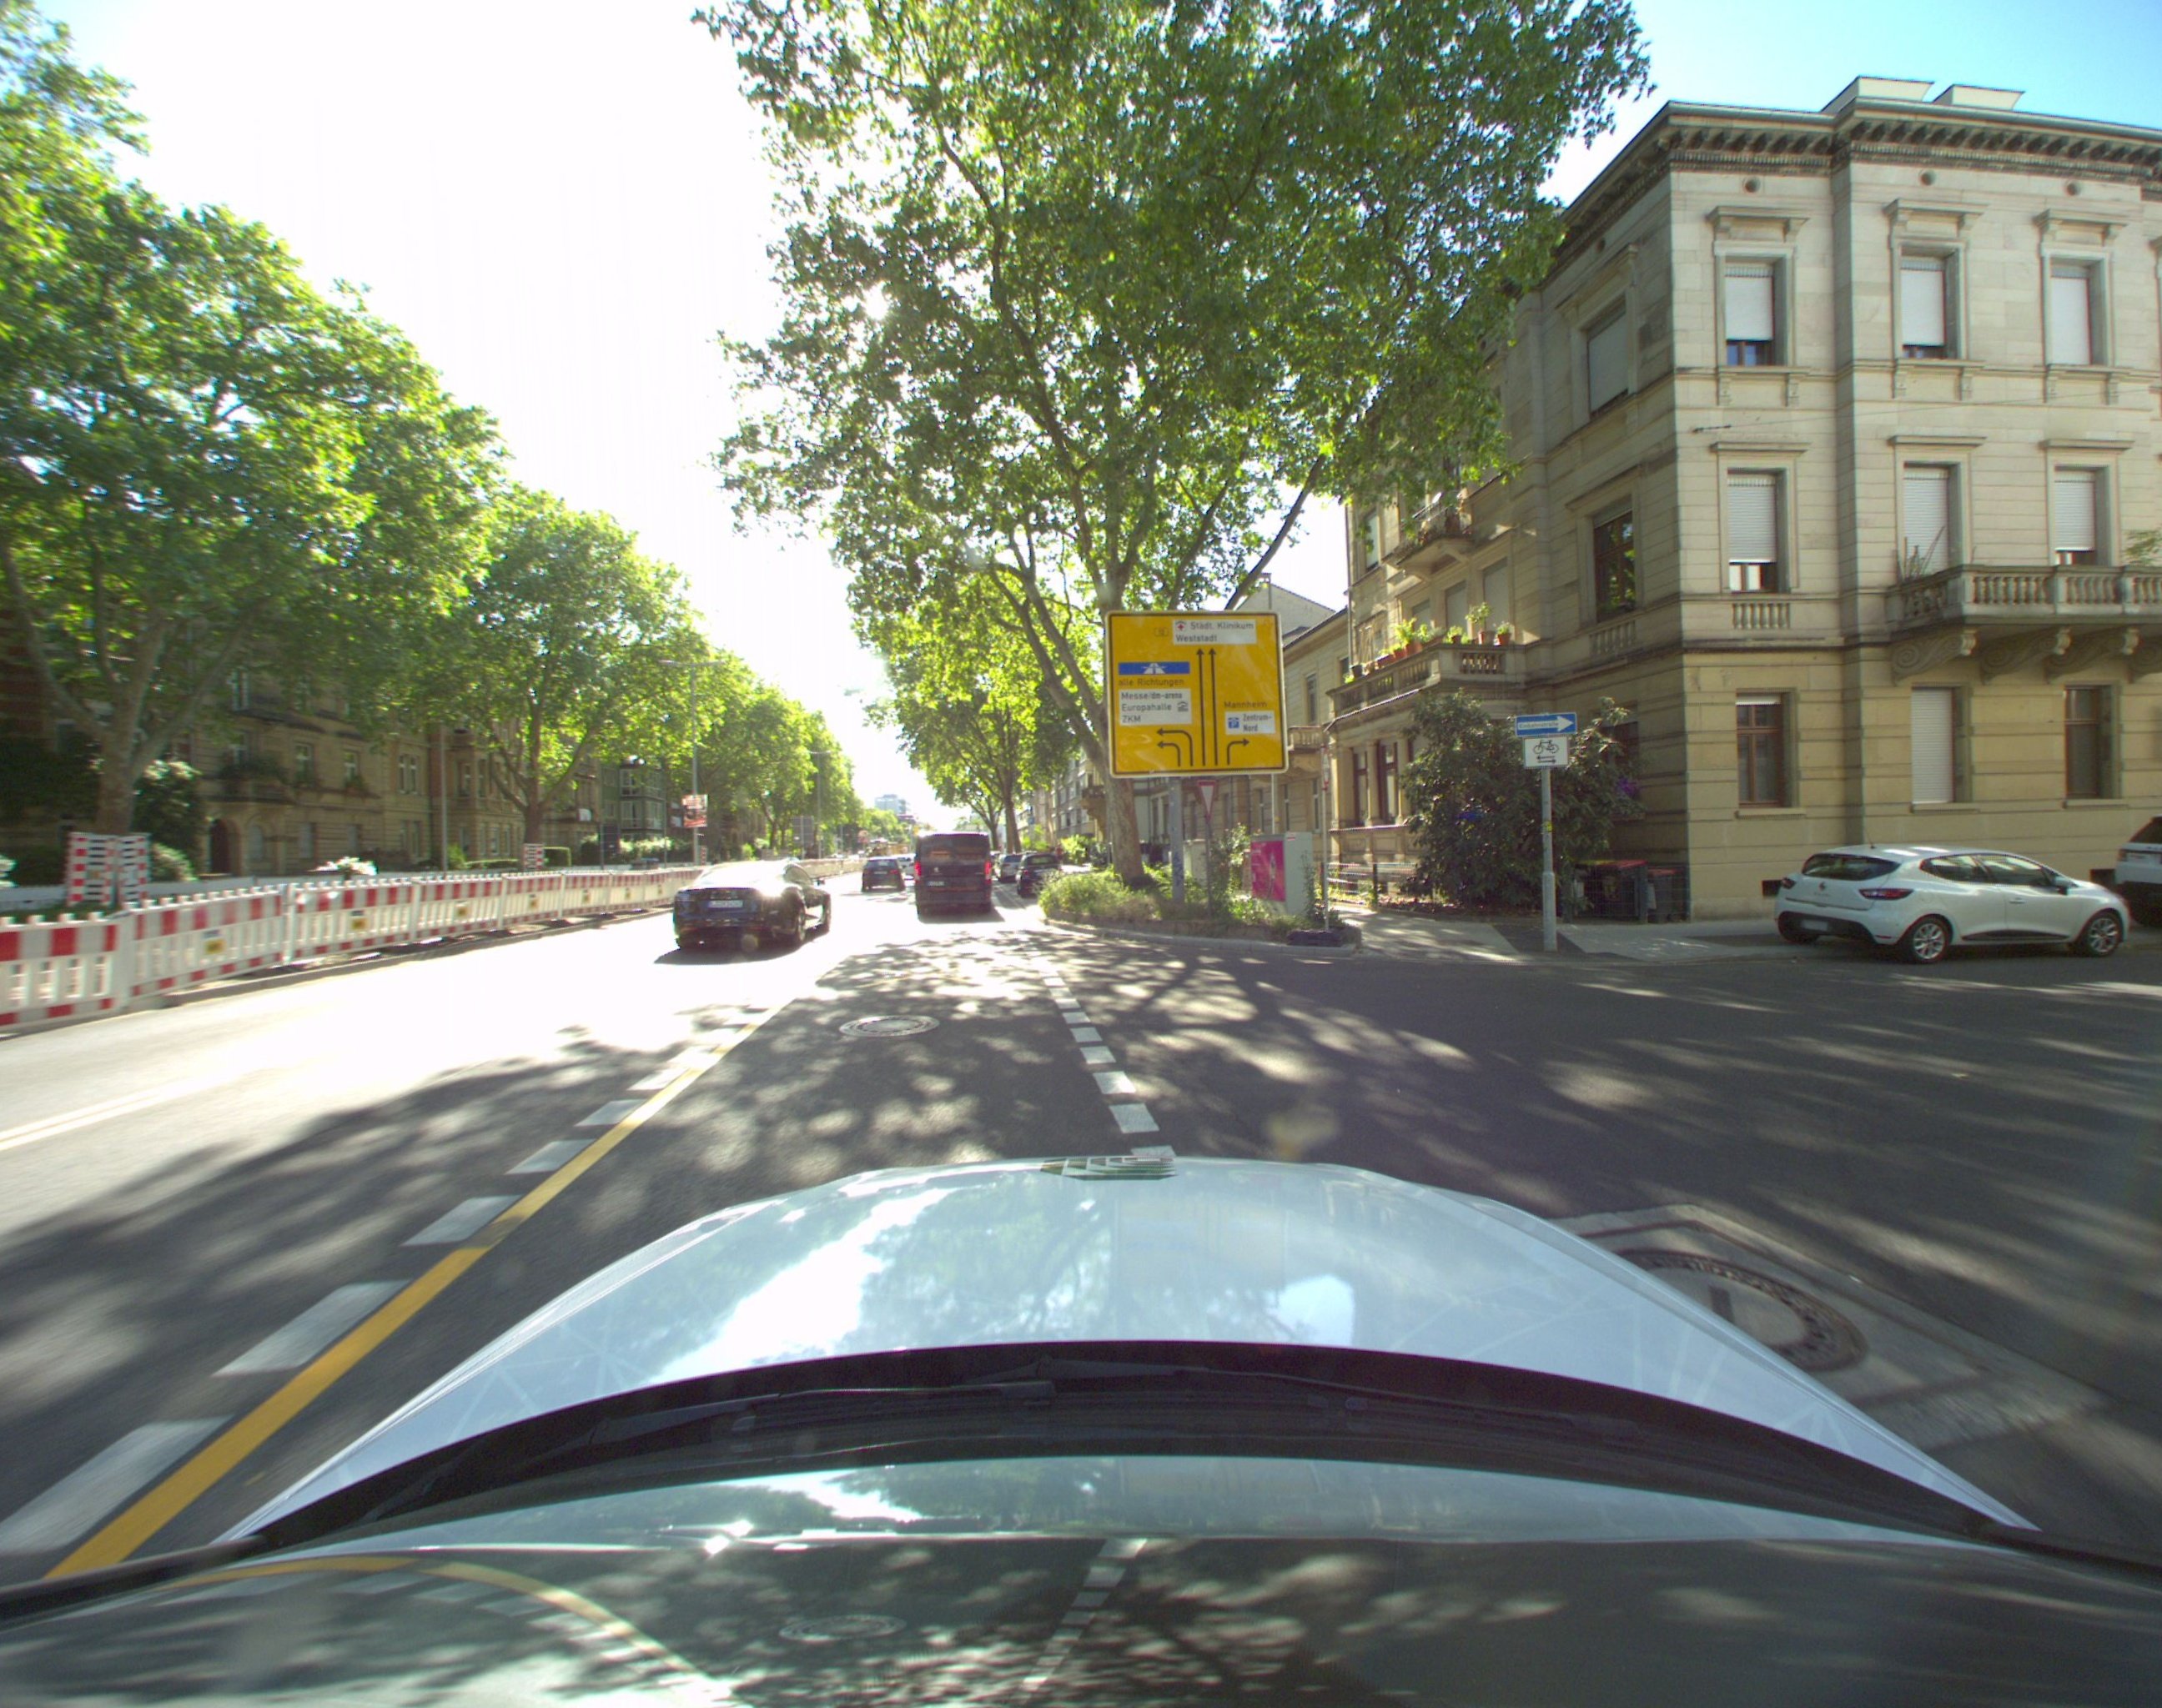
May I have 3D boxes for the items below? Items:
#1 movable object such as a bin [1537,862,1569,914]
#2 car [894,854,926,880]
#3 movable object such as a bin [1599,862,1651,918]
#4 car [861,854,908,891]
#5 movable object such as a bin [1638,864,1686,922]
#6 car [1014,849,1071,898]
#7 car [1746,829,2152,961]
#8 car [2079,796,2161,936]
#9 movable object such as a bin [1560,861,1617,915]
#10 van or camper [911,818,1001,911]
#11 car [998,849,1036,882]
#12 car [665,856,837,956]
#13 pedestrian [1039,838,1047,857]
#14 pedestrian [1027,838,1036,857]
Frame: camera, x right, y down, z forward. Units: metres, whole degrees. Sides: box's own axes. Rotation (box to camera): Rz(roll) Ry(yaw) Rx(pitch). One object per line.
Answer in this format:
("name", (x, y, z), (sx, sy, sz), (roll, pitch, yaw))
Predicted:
("movable object such as a bin", (9.126, 0.647, 15.749), (0.343, 0.970, 0.381), (-2, 0, -6))
("car", (-10.212, 0.762, 48.932), (1.619, 1.486, 3.723), (-1, 0, -8))
("movable object such as a bin", (9.790, 0.642, 14.666), (0.518, 0.970, 0.547), (-2, 0, -6))
("car", (-8.512, 0.769, 35.492), (1.619, 1.486, 3.723), (-1, 0, -8))
("movable object such as a bin", (10.038, 0.670, 14.070), (0.518, 0.970, 0.397), (-2, 0, -6))
("car", (-1.448, 0.646, 29.328), (1.770, 1.568, 3.992), (-2, 0, -6))
("car", (11.727, 0.475, 11.168), (3.925, 1.561, 1.869), (-1, 2, -7))
("car", (17.721, 0.109, 11.750), (4.521, 2.013, 2.025), (-2, 0, -5))
("movable object such as a bin", (9.471, 0.626, 15.215), (0.686, 0.970, 0.547), (-2, 0, -6))
("van or camper", (-3.569, 0.273, 23.139), (2.245, 2.346, 4.522), (-1, 0, -10))
("car", (-3.316, 0.553, 41.698), (1.771, 1.568, 3.991), (-2, 0, -6))
("car", (-5.741, 0.791, 14.762), (1.837, 1.483, 4.463), (-1, 0, -8))
("pedestrian", (-4.877, -0.838, 104.163), (1.056, 2.346, 0.815), (0, -1, -6))
("pedestrian", (-6.319, -0.827, 104.383), (1.056, 2.346, 0.815), (0, -1, -6))
